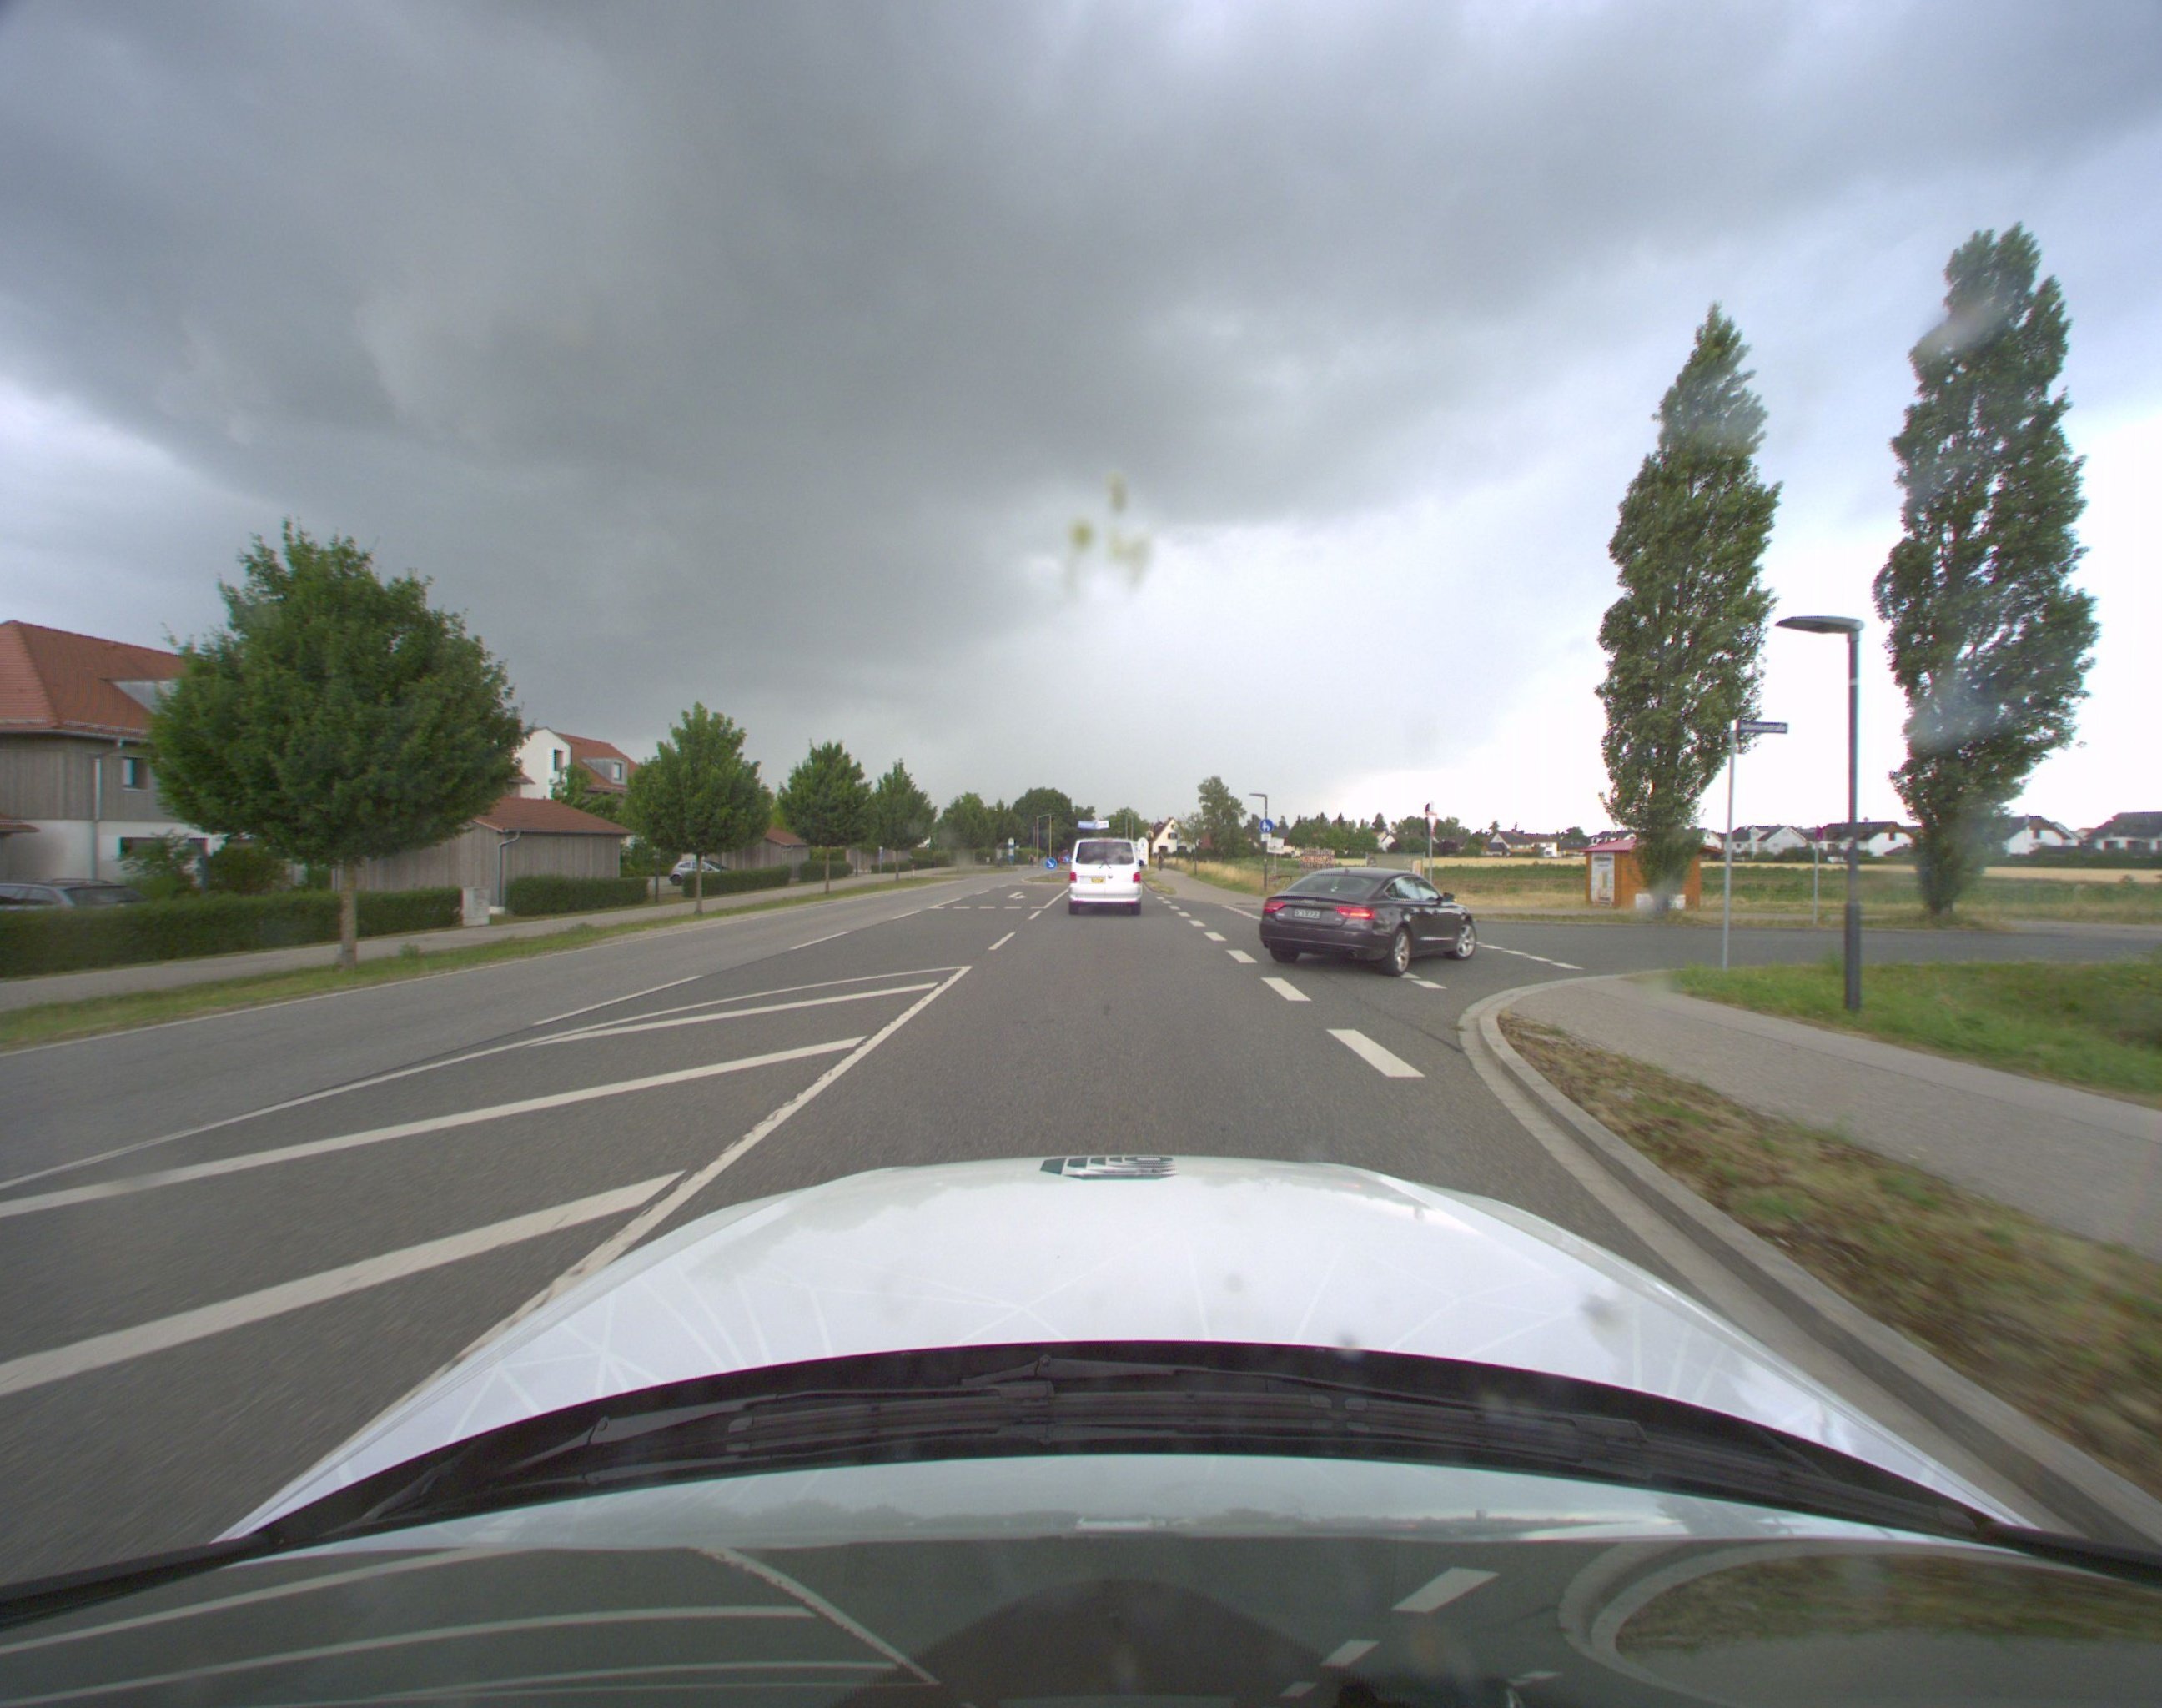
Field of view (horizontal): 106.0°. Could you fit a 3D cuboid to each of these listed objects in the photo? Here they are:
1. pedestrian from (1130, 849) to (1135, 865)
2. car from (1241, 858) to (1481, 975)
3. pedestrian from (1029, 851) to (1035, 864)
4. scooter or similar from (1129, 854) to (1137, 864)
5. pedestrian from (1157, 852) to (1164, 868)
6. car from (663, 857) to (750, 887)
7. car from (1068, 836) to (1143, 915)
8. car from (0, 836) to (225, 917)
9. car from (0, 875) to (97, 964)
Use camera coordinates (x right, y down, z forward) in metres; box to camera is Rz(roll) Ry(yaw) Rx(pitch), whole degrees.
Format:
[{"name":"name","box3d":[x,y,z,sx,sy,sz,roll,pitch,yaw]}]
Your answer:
[{"name":"pedestrian","box3d":[5.634,0.318,88.548,0.483,1.732,0.642,-1,0,1]},{"name":"car","box3d":[4.265,0.822,11.951,1.808,1.389,4.414,-1,-2,41]},{"name":"pedestrian","box3d":[-5.837,0.395,96.341,0.621,1.525,0.680,-1,0,1]},{"name":"scooter or similar","box3d":[5.722,0.523,89.444,0.845,1.103,1.095,-1,0,2]},{"name":"pedestrian","box3d":[7.584,0.605,77.785,0.621,1.525,0.680,-1,0,1]},{"name":"car","box3d":[-21.484,1.029,46.833,3.970,1.556,2.002,1,0,3]},{"name":"car","box3d":[0.617,0.508,21.989,1.819,1.913,4.000,1,0,0]},{"name":"car","box3d":[-21.871,0.483,17.945,3.970,1.618,2.002,-1,0,3]},{"name":"car","box3d":[-22.210,1.294,15.760,3.970,1.618,2.002,-1,0,3]}]
